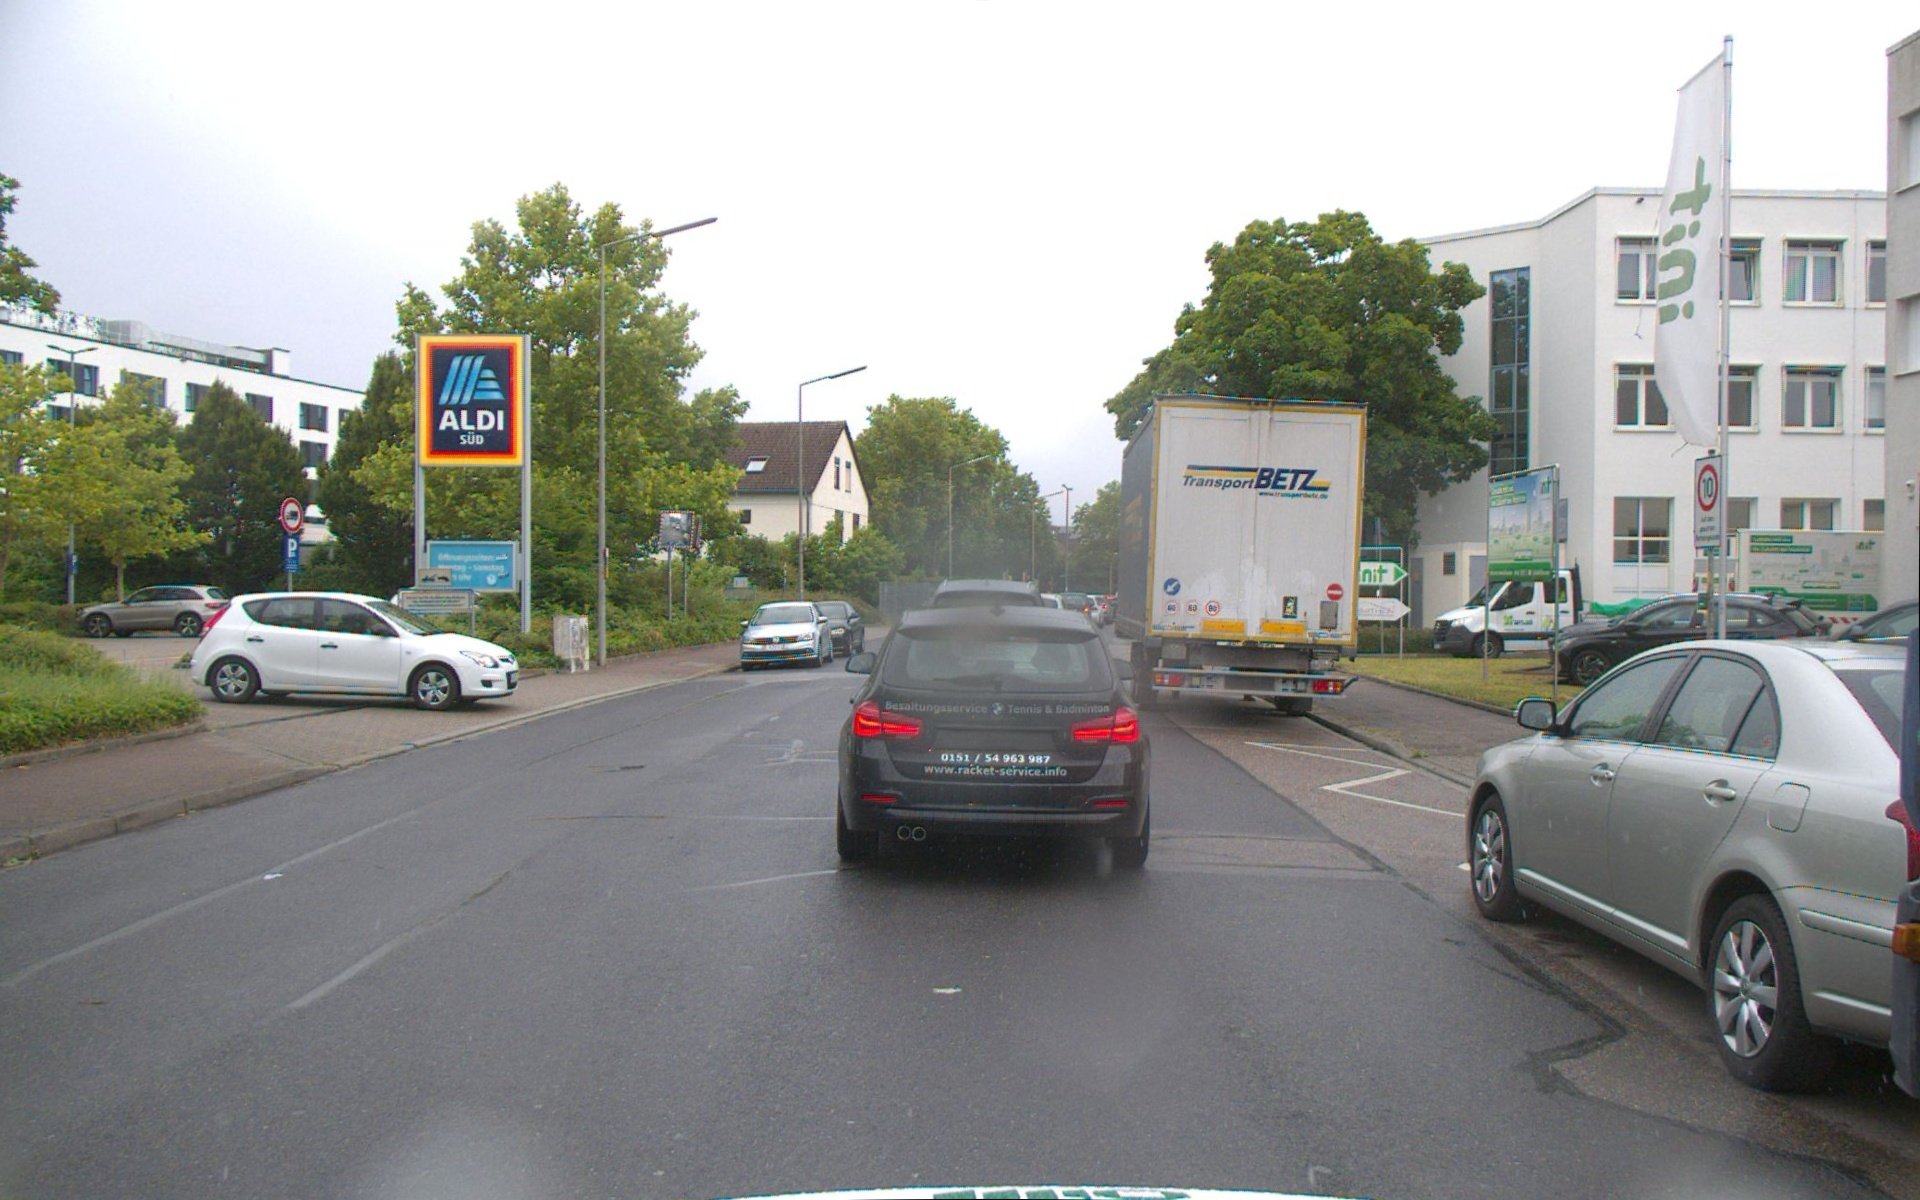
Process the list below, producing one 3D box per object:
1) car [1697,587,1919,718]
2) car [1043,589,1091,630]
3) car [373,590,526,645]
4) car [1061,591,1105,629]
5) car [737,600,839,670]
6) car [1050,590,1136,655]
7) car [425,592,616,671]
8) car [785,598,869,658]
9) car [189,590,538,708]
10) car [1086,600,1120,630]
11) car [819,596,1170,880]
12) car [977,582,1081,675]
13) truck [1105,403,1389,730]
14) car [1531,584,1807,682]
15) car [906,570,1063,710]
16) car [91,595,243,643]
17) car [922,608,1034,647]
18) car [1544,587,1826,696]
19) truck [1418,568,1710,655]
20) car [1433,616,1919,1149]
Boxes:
[{"bbox_3d":[11.388,0.598,19.607,4.585,1.493,1.784,0,0,37],"label":"car"},{"bbox_3d":[4.472,0.384,68.747,1.766,1.614,4.003,1,0,7],"label":"car"},{"bbox_3d":[-14.942,0.511,48.553,3.905,1.567,1.910,0,0,0],"label":"car"},{"bbox_3d":[5.589,0.455,74.942,1.766,1.614,4.003,1,0,7],"label":"car"},{"bbox_3d":[-3.796,0.732,37.172,1.670,1.391,4.602,-2,0,1],"label":"car"},{"bbox_3d":[3.657,0.622,46.192,1.953,1.713,3.999,1,-1,-2],"label":"car"},{"bbox_3d":[-9.187,0.644,34.758,3.496,1.485,1.712,2,0,1],"label":"car"},{"bbox_3d":[-3.418,0.700,43.147,1.670,1.391,3.839,-2,0,3],"label":"car"},{"bbox_3d":[-8.011,0.643,22.487,4.107,1.485,1.711,1,0,-4],"label":"car"},{"bbox_3d":[8.122,0.835,93.633,1.766,1.614,4.003,1,0,7],"label":"car"},{"bbox_3d":[0.092,0.712,10.400,1.768,1.419,3.998,1,0,-3],"label":"car"},{"bbox_3d":[1.355,0.510,31.156,1.766,1.614,4.002,1,0,5],"label":"car"},{"bbox_3d":[3.662,-0.396,23.045,2.684,3.674,7.751,2,0,2],"label":"truck"},{"bbox_3d":[12.140,0.511,28.451,4.074,1.440,1.682,2,3,40],"label":"car"},{"bbox_3d":[0.220,0.475,21.321,1.768,1.614,3.998,1,0,-3],"label":"car"},{"bbox_3d":[-25.350,0.590,52.957,3.904,1.526,2.000,0,0,1],"label":"car"},{"bbox_3d":[0.679,1.025,61.500,4.101,1.386,1.589,0,0,0],"label":"car"},{"bbox_3d":[11.356,0.597,26.019,3.711,1.420,1.718,4,2,40],"label":"car"},{"bbox_3d":[15.502,0.286,42.695,6.781,2.177,2.094,0,0,0],"label":"truck"},{"bbox_3d":[3.519,0.828,6.926,1.761,1.466,4.344,0,0,-1],"label":"car"}]
